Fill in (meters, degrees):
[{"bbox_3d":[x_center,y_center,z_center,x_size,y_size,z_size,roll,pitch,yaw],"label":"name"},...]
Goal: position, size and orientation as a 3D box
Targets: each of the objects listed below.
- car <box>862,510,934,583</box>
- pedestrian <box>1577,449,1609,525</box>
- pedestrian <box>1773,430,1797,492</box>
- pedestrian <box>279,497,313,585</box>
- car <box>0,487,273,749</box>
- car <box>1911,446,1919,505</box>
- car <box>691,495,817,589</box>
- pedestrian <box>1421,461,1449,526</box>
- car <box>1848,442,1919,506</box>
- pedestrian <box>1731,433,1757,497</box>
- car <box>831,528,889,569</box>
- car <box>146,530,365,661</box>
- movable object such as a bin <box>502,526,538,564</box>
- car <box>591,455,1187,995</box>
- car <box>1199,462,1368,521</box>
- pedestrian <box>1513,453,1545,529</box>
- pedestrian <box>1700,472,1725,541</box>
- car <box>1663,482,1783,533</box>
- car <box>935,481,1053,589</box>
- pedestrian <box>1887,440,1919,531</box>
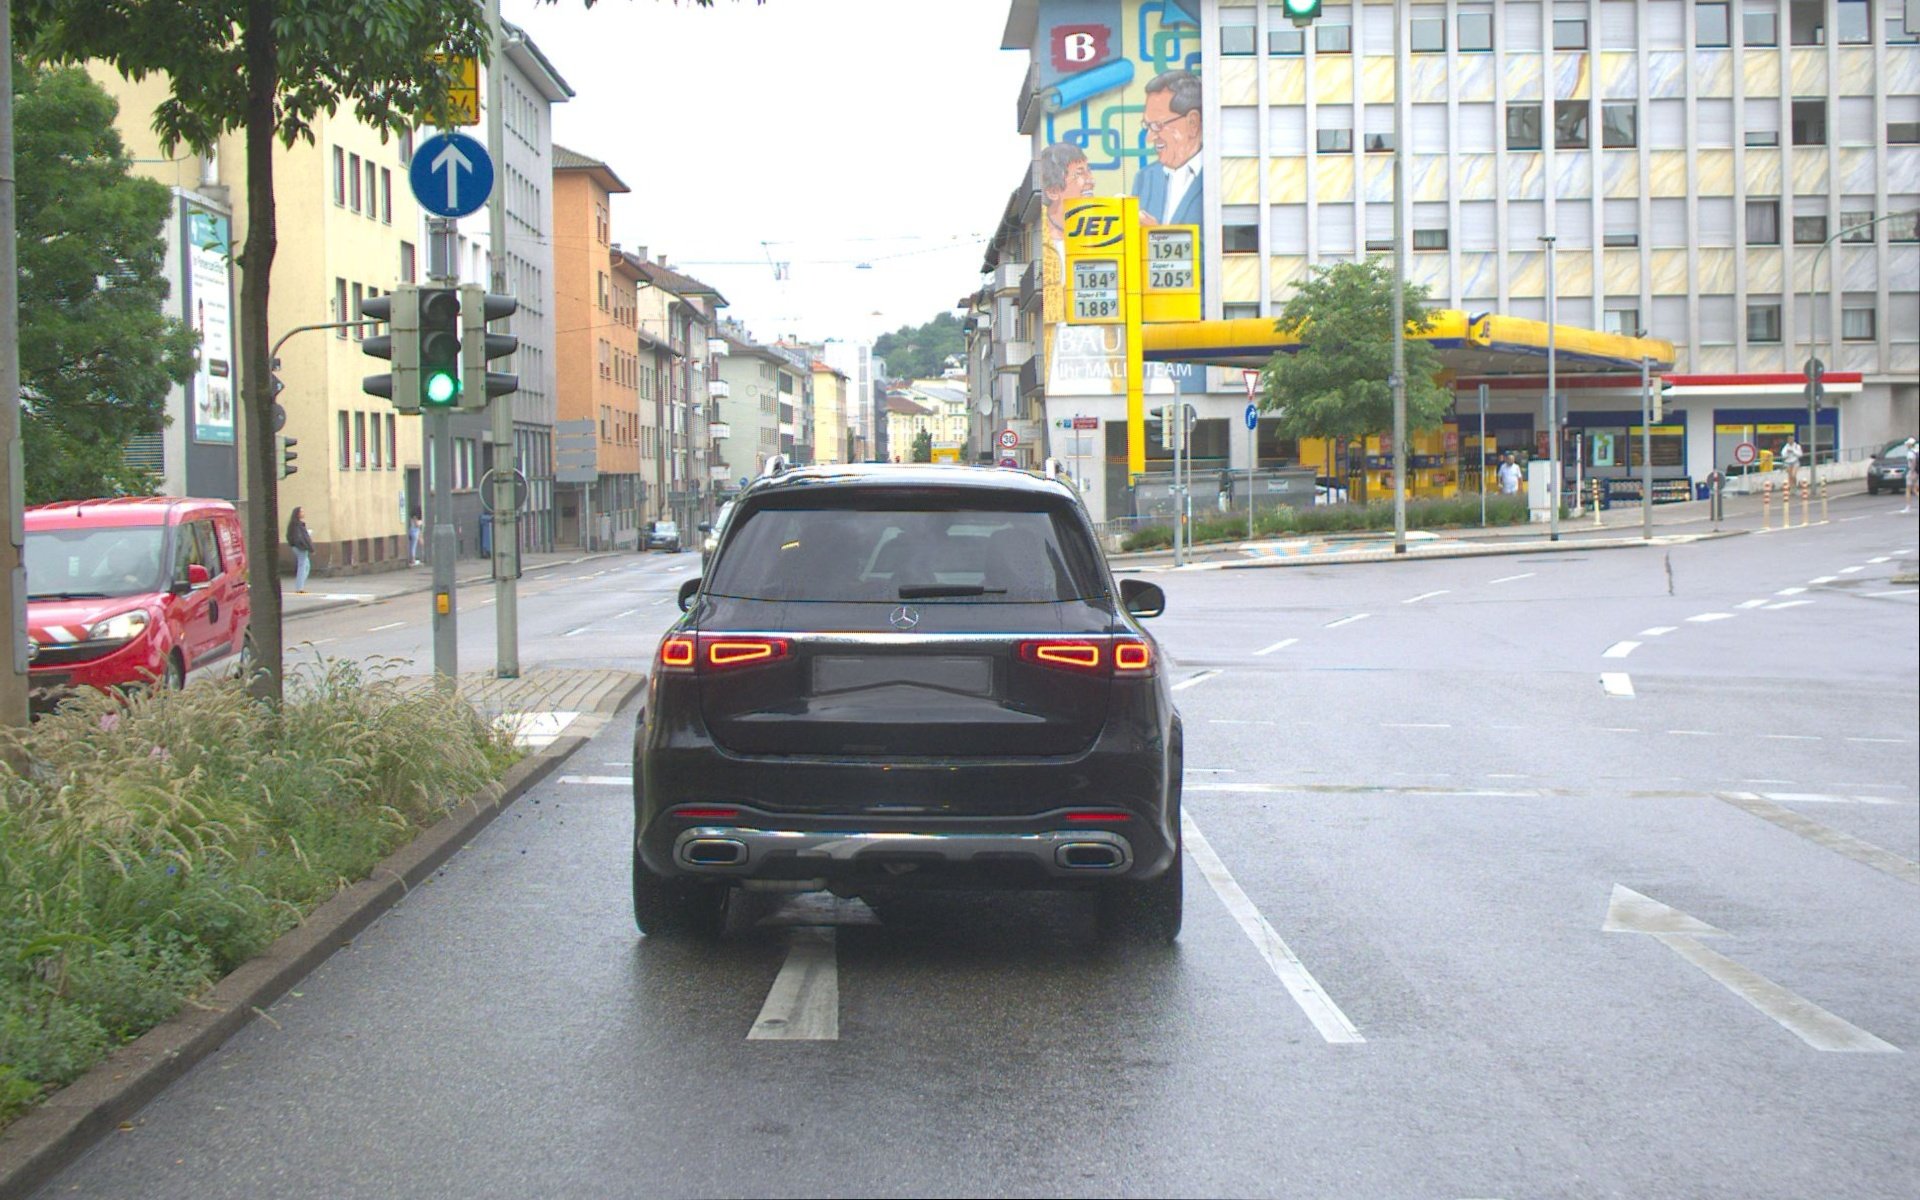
[{"bbox_3d":[-1.783,-1.509,98.506,1.993,2.007,4.000,1,0,-1],"label":"car"},{"bbox_3d":[14.189,-2.530,77.054,0.572,1.692,0.631,1,0,1],"label":"pedestrian"},{"bbox_3d":[22.349,-3.763,93.135,0.484,1.635,0.438,1,0,28],"label":"pedestrian"},{"bbox_3d":[-13.131,-1.167,68.003,0.627,1.721,0.650,-1,1,-10],"label":"pedestrian"},{"bbox_3d":[-6.767,0.110,27.268,1.792,1.847,4.793,-3,1,-3],"label":"car"},{"bbox_3d":[29.201,-3.632,99.647,1.997,1.700,3.993,0,2,34],"label":"car"},{"bbox_3d":[-3.719,-1.031,62.680,1.993,1.609,4.189,1,0,0],"label":"car"},{"bbox_3d":[12.780,-2.863,92.461,0.527,1.721,0.688,0,1,30],"label":"pedestrian"},{"bbox_3d":[26.310,-3.504,95.399,1.997,1.700,3.993,0,2,34],"label":"car"},{"bbox_3d":[21.318,-3.667,93.447,0.526,1.721,0.688,0,1,27],"label":"pedestrian"},{"bbox_3d":[-3.937,-2.034,136.562,1.994,1.542,4.189,1,0,2],"label":"car"},{"bbox_3d":[-8.762,-0.098,43.092,1.846,1.424,4.435,-2,2,-1],"label":"car"},{"bbox_3d":[-12.546,-1.569,98.042,0.910,1.034,0.844,1,0,1],"label":"movable object such as a bin"},{"bbox_3d":[-0.255,0.427,13.734,1.993,1.794,4.000,1,0,0],"label":"car"},{"bbox_3d":[8.015,-2.692,85.366,1.732,1.371,3.998,-2,2,-44],"label":"car"},{"bbox_3d":[12.995,-2.487,78.479,0.526,1.721,0.688,0,1,27],"label":"pedestrian"},{"bbox_3d":[15.373,-1.914,70.234,0.396,1.395,0.446,1,0,1],"label":"pedestrian"},{"bbox_3d":[23.232,-2.796,104.596,1.998,1.393,3.991,1,0,39],"label":"car"},{"bbox_3d":[0.571,-1.123,60.870,1.993,1.794,4.000,1,0,0],"label":"car"},{"bbox_3d":[22.361,-2.691,80.712,0.854,2.121,0.948,-1,1,-6],"label":"pedestrian"}]
